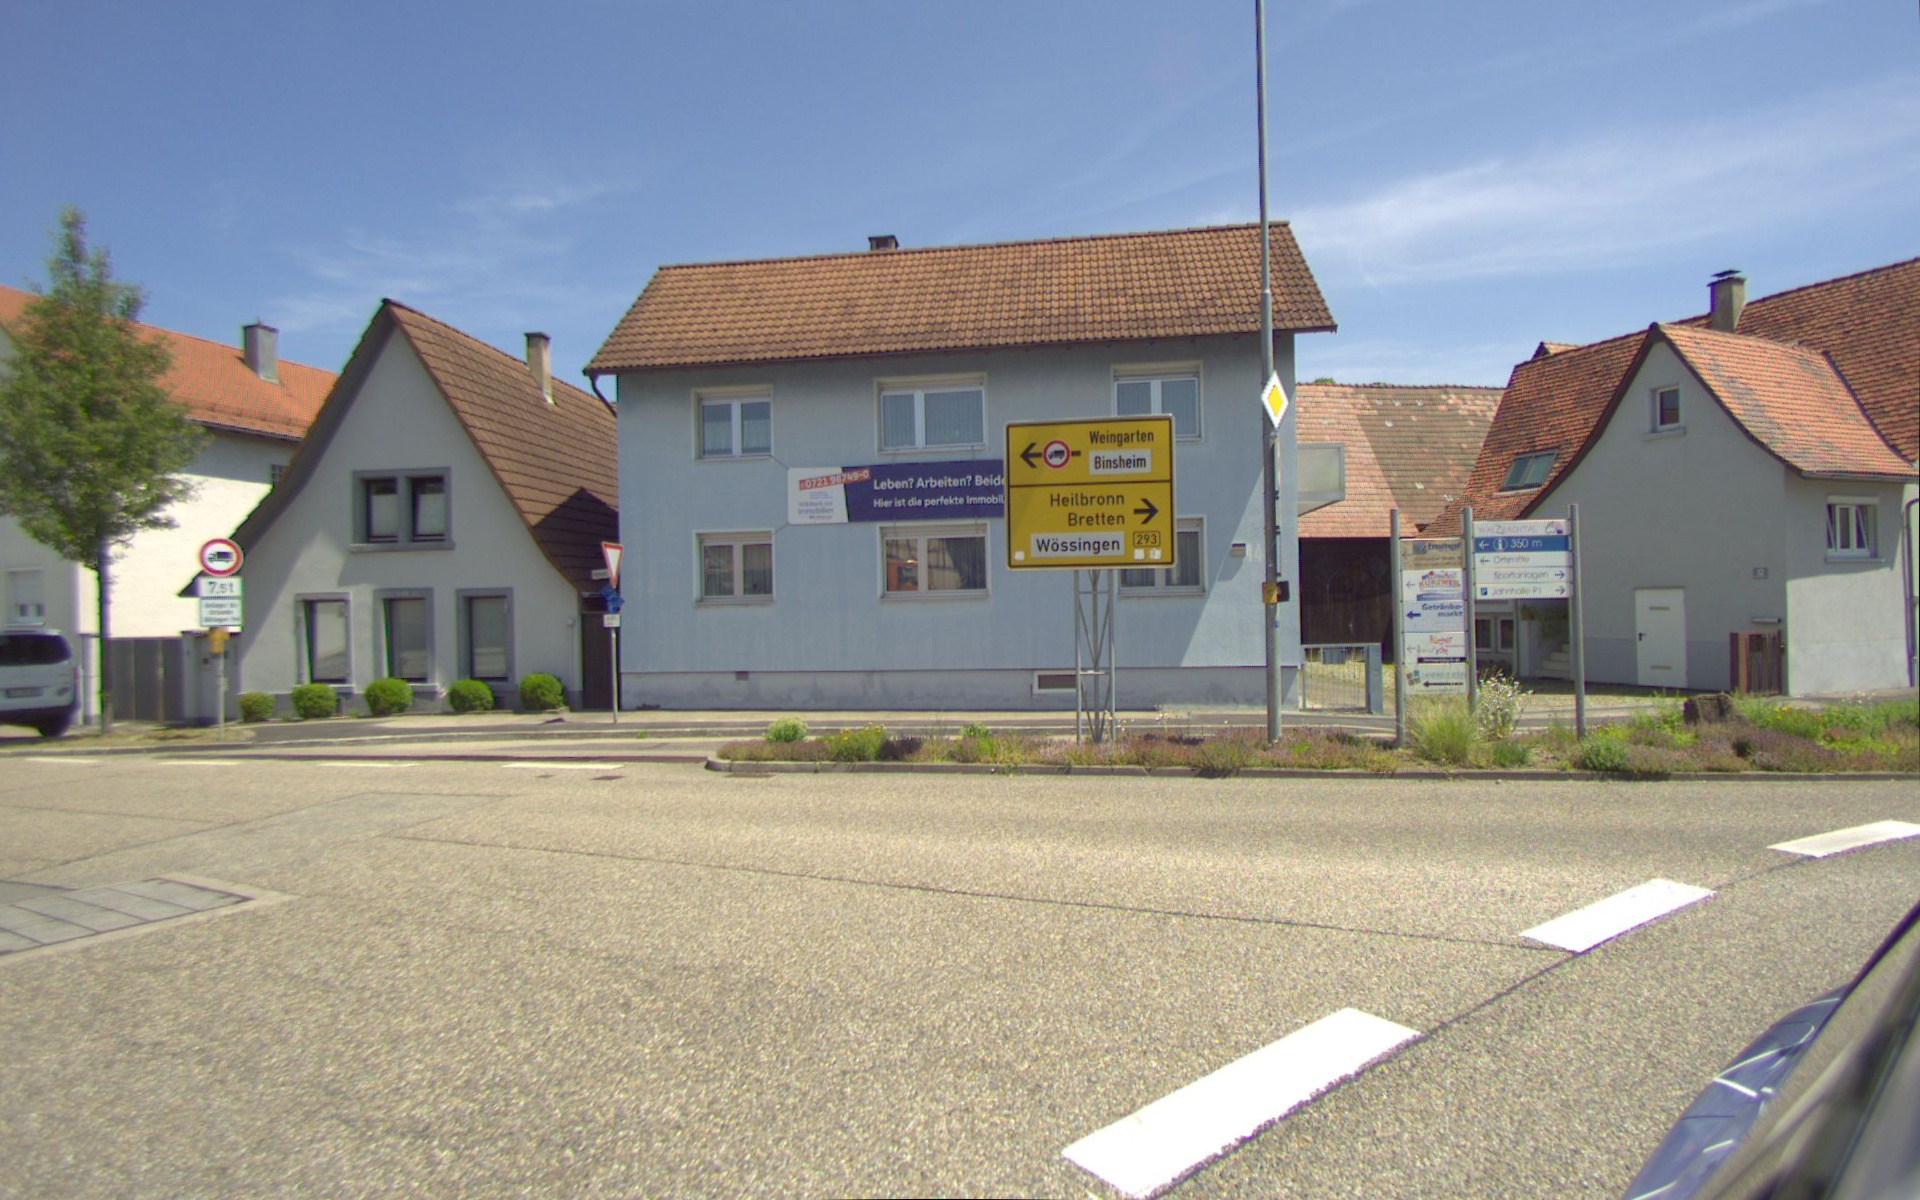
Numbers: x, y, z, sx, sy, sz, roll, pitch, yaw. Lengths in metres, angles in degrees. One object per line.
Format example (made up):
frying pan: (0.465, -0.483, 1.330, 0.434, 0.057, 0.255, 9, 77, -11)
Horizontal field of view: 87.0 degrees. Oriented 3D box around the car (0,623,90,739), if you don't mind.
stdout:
car: (-18.112, 1.491, 18.093, 4.266, 1.937, 1.988, -3, -2, 18)
